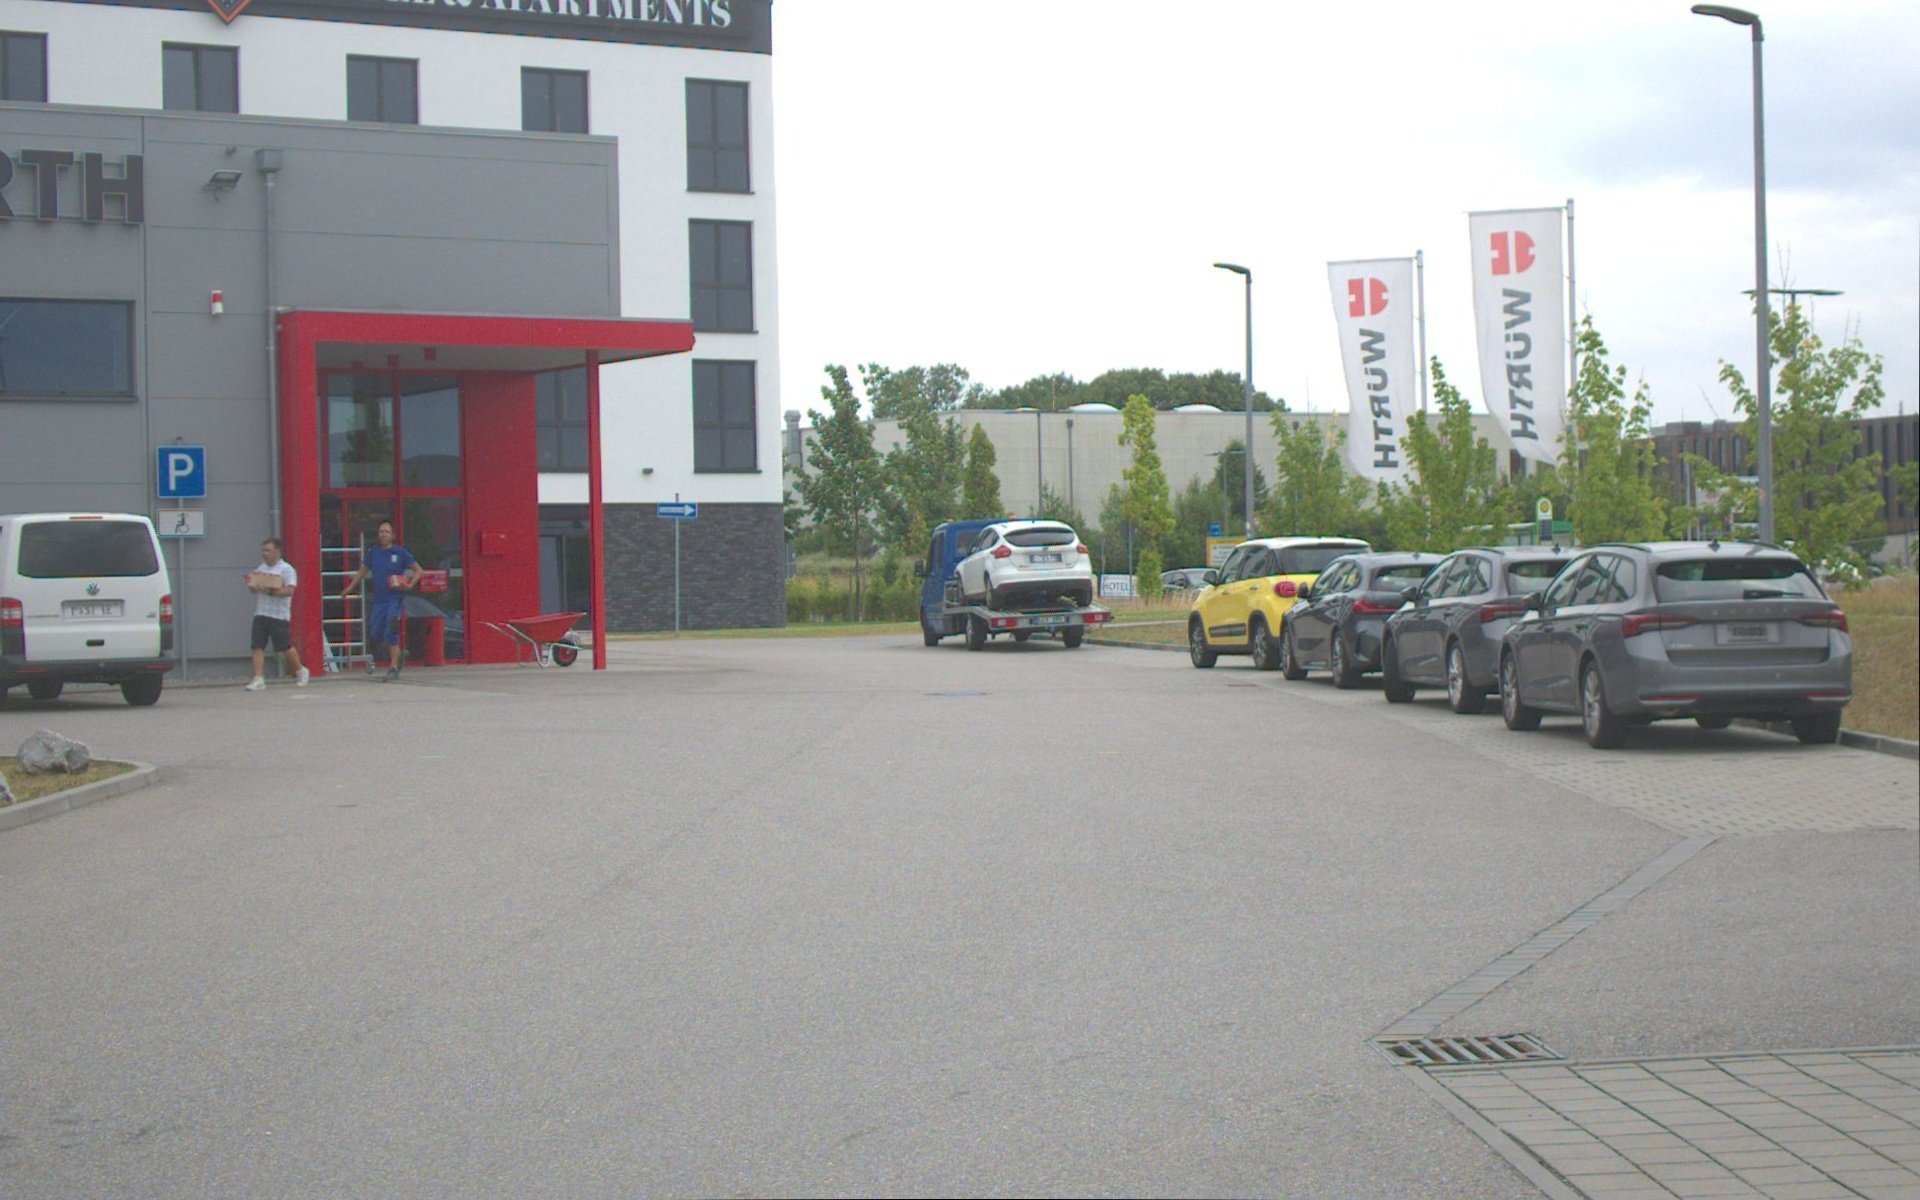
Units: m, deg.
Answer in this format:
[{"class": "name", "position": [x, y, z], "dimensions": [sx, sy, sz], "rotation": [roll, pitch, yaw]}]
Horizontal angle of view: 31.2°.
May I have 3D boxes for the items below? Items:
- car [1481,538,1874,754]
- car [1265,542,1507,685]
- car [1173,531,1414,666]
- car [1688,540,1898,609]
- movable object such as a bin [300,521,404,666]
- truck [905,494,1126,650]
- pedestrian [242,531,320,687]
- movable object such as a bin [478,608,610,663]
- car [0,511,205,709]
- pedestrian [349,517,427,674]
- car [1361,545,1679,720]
[{"class": "car", "position": [5.238, 0.289, 25.693], "dimensions": [1.751, 1.464, 4.476], "rotation": [0, 1, -3]}, {"class": "car", "position": [4.609, 0.116, 37.759], "dimensions": [1.751, 1.464, 4.108], "rotation": [0, 1, -6]}, {"class": "car", "position": [4.229, -0.012, 44.208], "dimensions": [1.856, 1.644, 4.001], "rotation": [0, 0, -14]}, {"class": "car", "position": [17.585, -0.542, 72.786], "dimensions": [1.762, 1.390, 4.559], "rotation": [-1, 1, -27]}, {"class": "movable object such as a bin", "position": [-7.274, -0.081, 41.126], "dimensions": [0.910, 1.666, 0.743], "rotation": [-4, 2, -31]}, {"class": "truck", "position": [0.857, -0.406, 60.563], "dimensions": [2.331, 2.398, 7.897], "rotation": [0, -2, -11]}, {"class": "pedestrian", "position": [-7.697, 0.097, 38.982], "dimensions": [0.624, 1.745, 0.905], "rotation": [-1, 1, 4]}, {"class": "movable object such as a bin", "position": [-5.438, 0.460, 44.935], "dimensions": [1.488, 0.701, 0.965], "rotation": [0, 0, -26]}, {"class": "car", "position": [-9.633, 0.106, 35.717], "dimensions": [2.055, 1.849, 4.061], "rotation": [-3, 1, -34]}, {"class": "pedestrian", "position": [-6.654, -0.055, 40.039], "dimensions": [0.677, 1.796, 0.880], "rotation": [-1, 1, 5]}, {"class": "car", "position": [5.017, 0.250, 31.414], "dimensions": [1.751, 1.464, 4.477], "rotation": [0, 1, -6]}]
